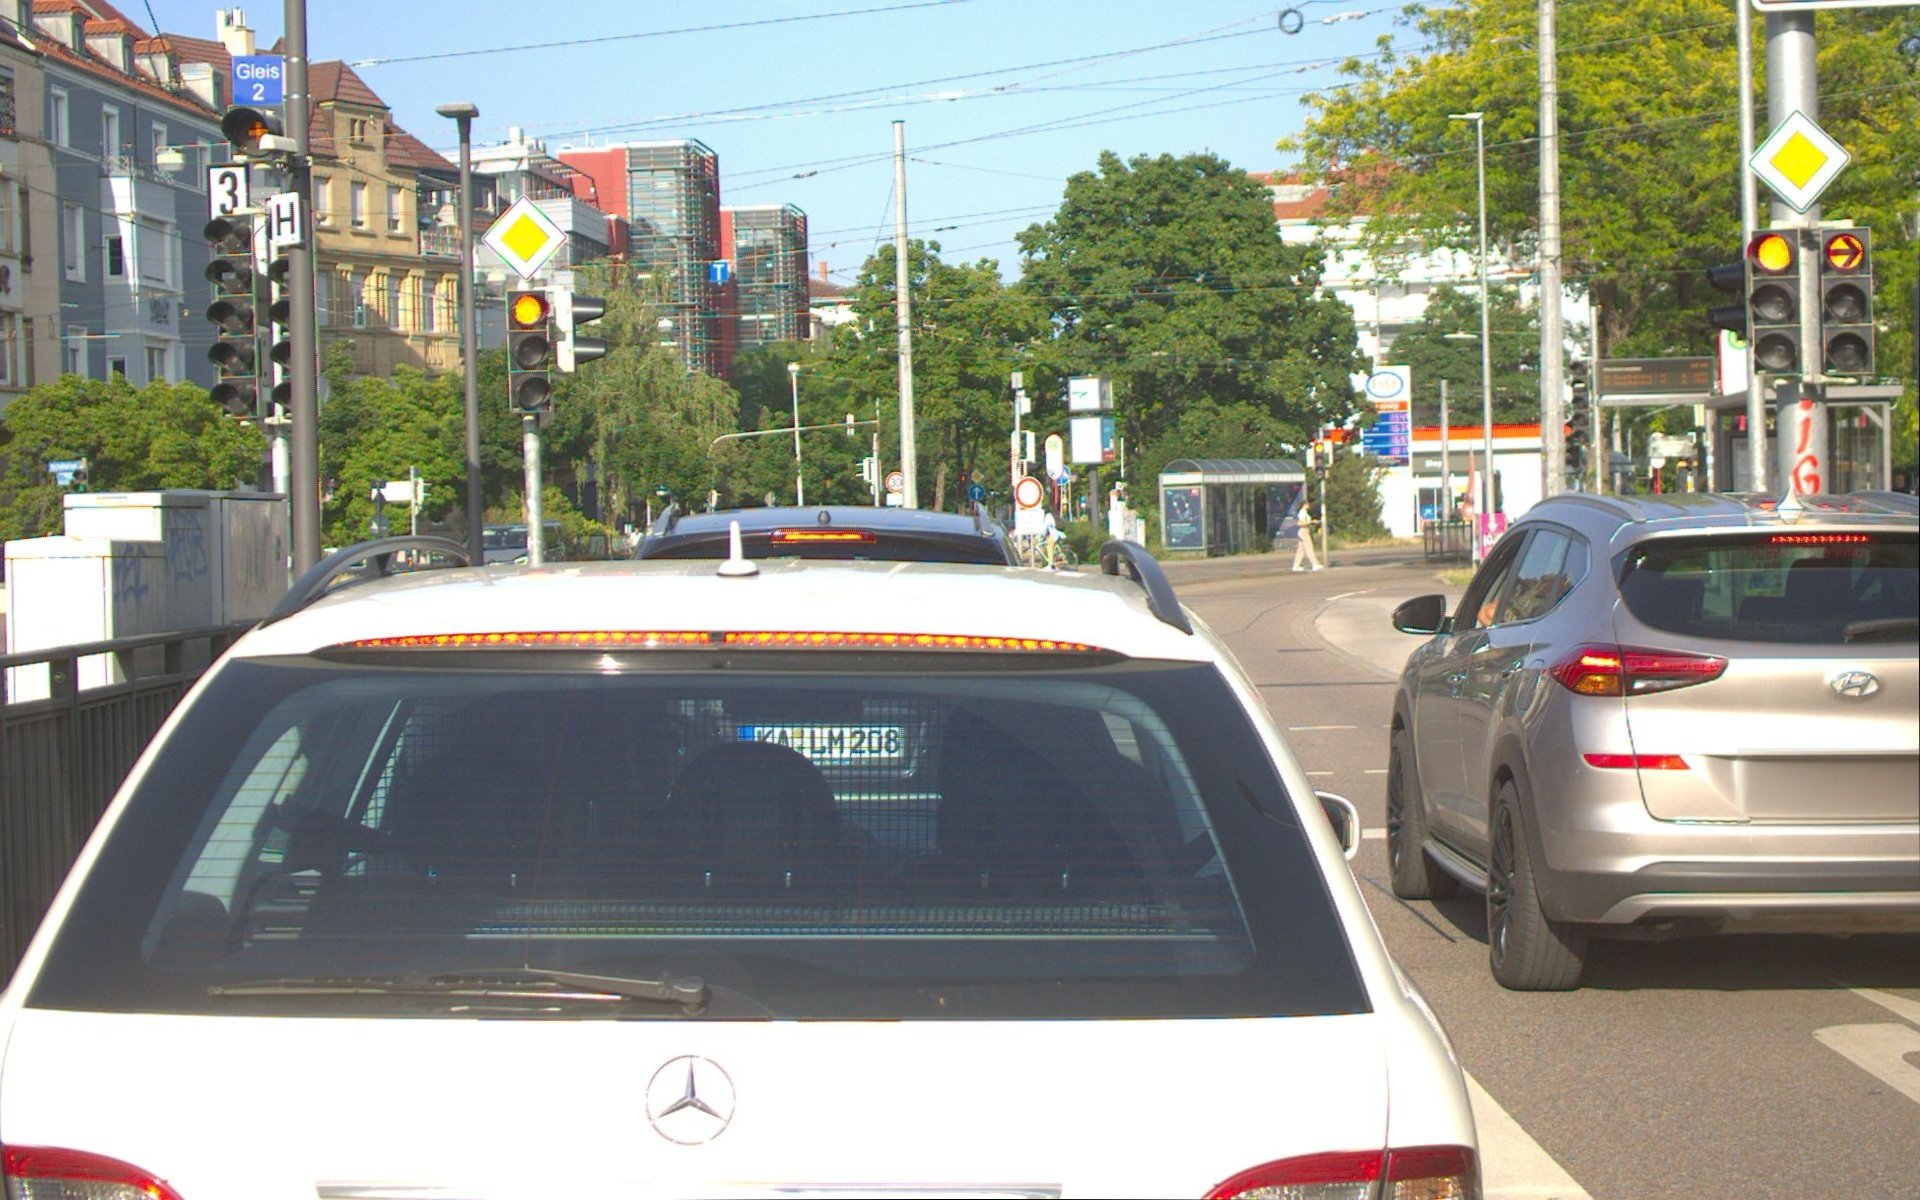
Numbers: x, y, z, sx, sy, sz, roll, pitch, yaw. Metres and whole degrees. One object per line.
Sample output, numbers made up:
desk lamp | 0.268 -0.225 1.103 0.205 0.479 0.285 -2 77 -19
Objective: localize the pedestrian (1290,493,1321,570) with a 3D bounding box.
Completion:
pedestrian | 8.416 -1.671 83.777 0.642 1.850 0.551 -1 1 11

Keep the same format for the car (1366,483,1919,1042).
car | 2.630 0.440 12.145 1.885 1.645 3.648 -2 1 0

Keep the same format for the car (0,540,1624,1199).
car | -0.320 0.653 4.999 1.796 1.465 3.648 0 1 -1

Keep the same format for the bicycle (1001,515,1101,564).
bicycle | 2.348 -1.560 88.598 2.483 1.209 0.806 -1 1 8

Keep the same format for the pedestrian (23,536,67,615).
pedestrian | -19.441 -0.532 73.052 0.585 1.654 0.621 -1 1 20

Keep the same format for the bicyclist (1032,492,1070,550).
bicyclist | 2.352 -2.030 88.587 0.861 1.476 0.789 -1 1 9

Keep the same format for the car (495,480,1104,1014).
car | -0.517 0.422 12.570 1.885 1.645 3.648 1 1 0
